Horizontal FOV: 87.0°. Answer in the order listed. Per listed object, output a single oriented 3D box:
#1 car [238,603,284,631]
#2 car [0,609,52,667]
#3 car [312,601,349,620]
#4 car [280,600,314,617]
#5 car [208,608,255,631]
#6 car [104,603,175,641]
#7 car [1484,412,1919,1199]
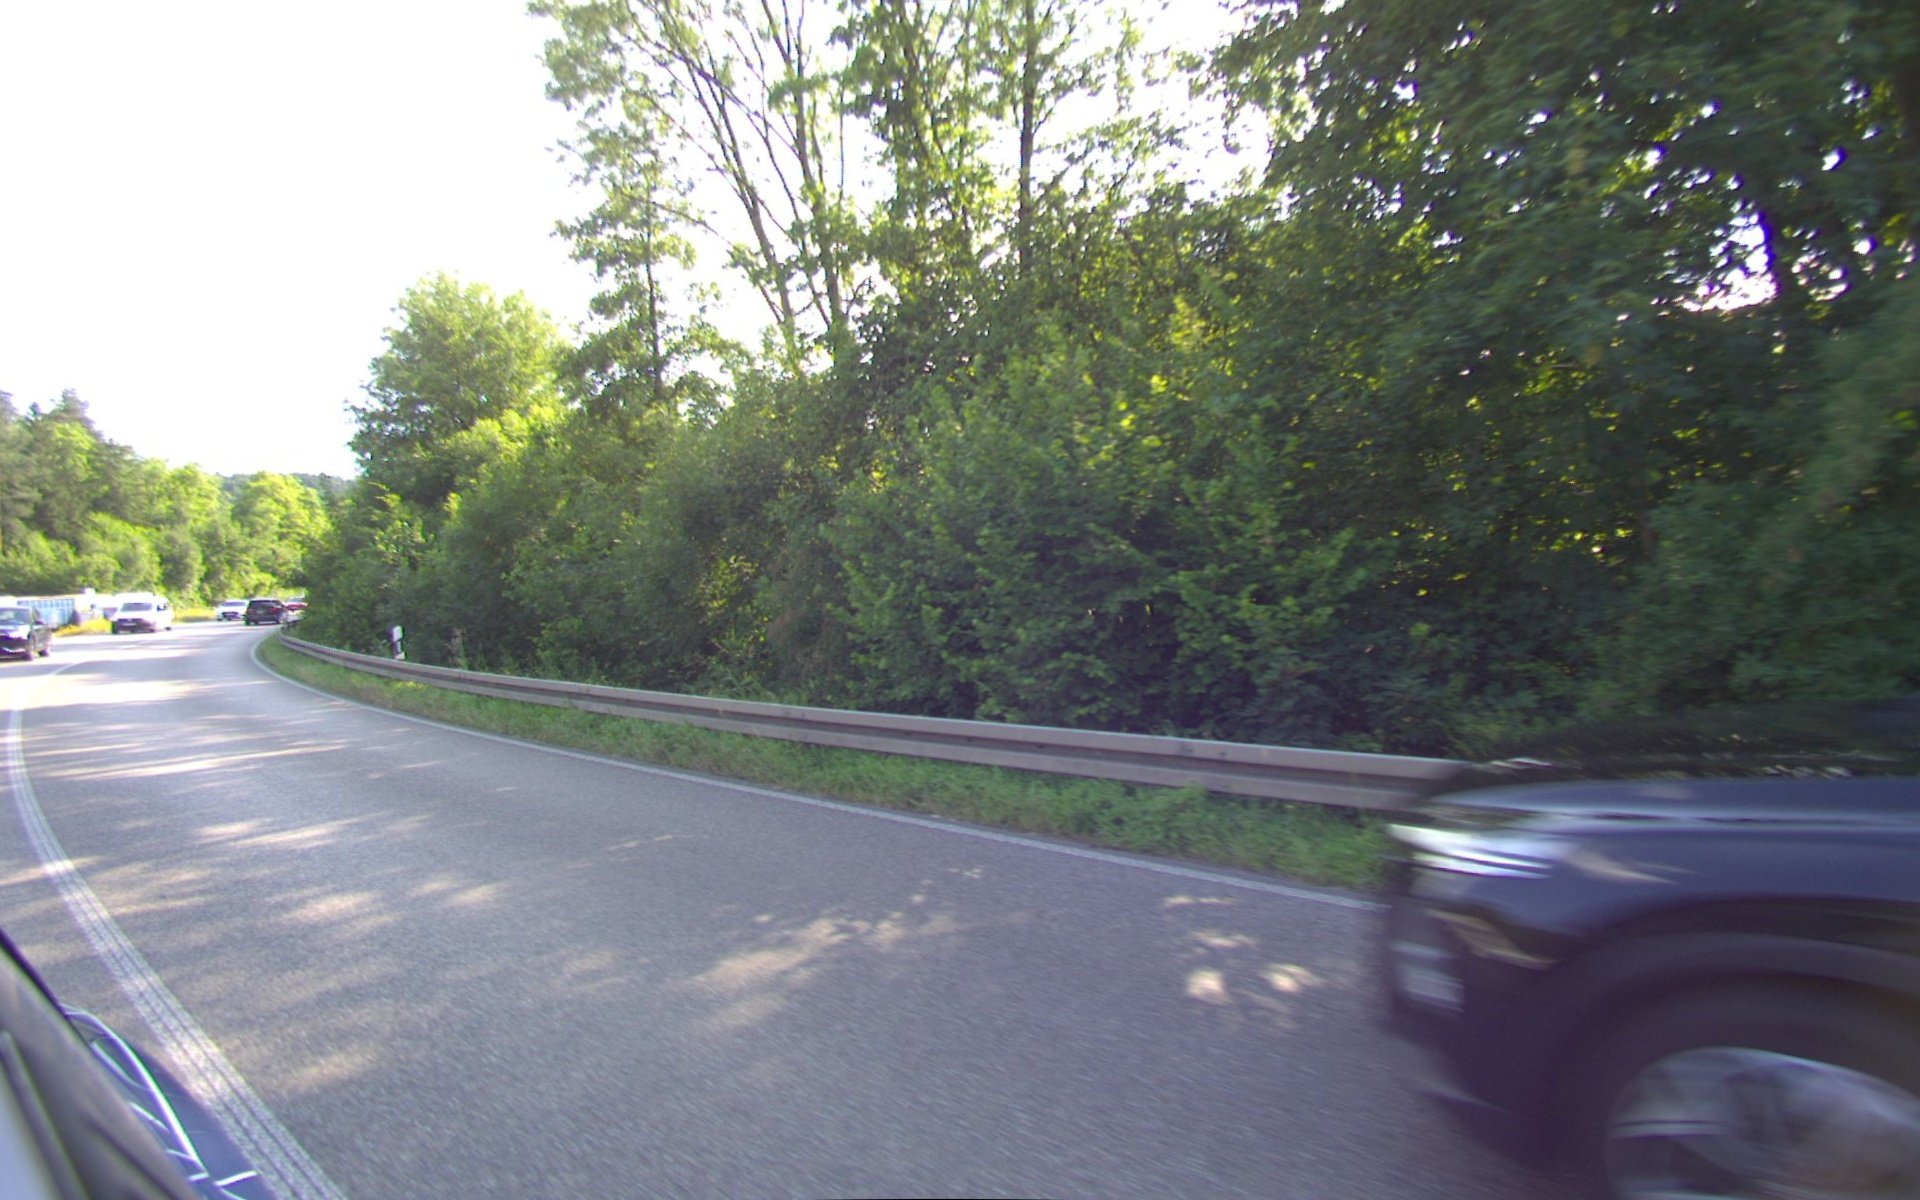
[{"bbox_3d":[-42.407,1.013,61.510,1.841,1.601,4.262,0,0,-28],"label":"car"},{"bbox_3d":[-28.532,1.111,30.002,1.819,1.581,4.268,-1,1,-34],"label":"car"},{"bbox_3d":[-50.945,0.848,81.972,1.824,1.519,4.418,0,0,-22],"label":"car"},{"bbox_3d":[-62.278,0.794,95.074,1.829,1.431,4.434,-4,2,-23],"label":"car"},{"bbox_3d":[-52.001,1.378,72.329,1.865,1.456,4.491,-3,2,-25],"label":"car"},{"bbox_3d":[-42.100,1.077,52.036,1.837,1.733,4.779,-3,2,-28],"label":"car"},{"bbox_3d":[3.413,0.480,1.350,4.542,1.665,1.850,-2,-1,38],"label":"car"}]
